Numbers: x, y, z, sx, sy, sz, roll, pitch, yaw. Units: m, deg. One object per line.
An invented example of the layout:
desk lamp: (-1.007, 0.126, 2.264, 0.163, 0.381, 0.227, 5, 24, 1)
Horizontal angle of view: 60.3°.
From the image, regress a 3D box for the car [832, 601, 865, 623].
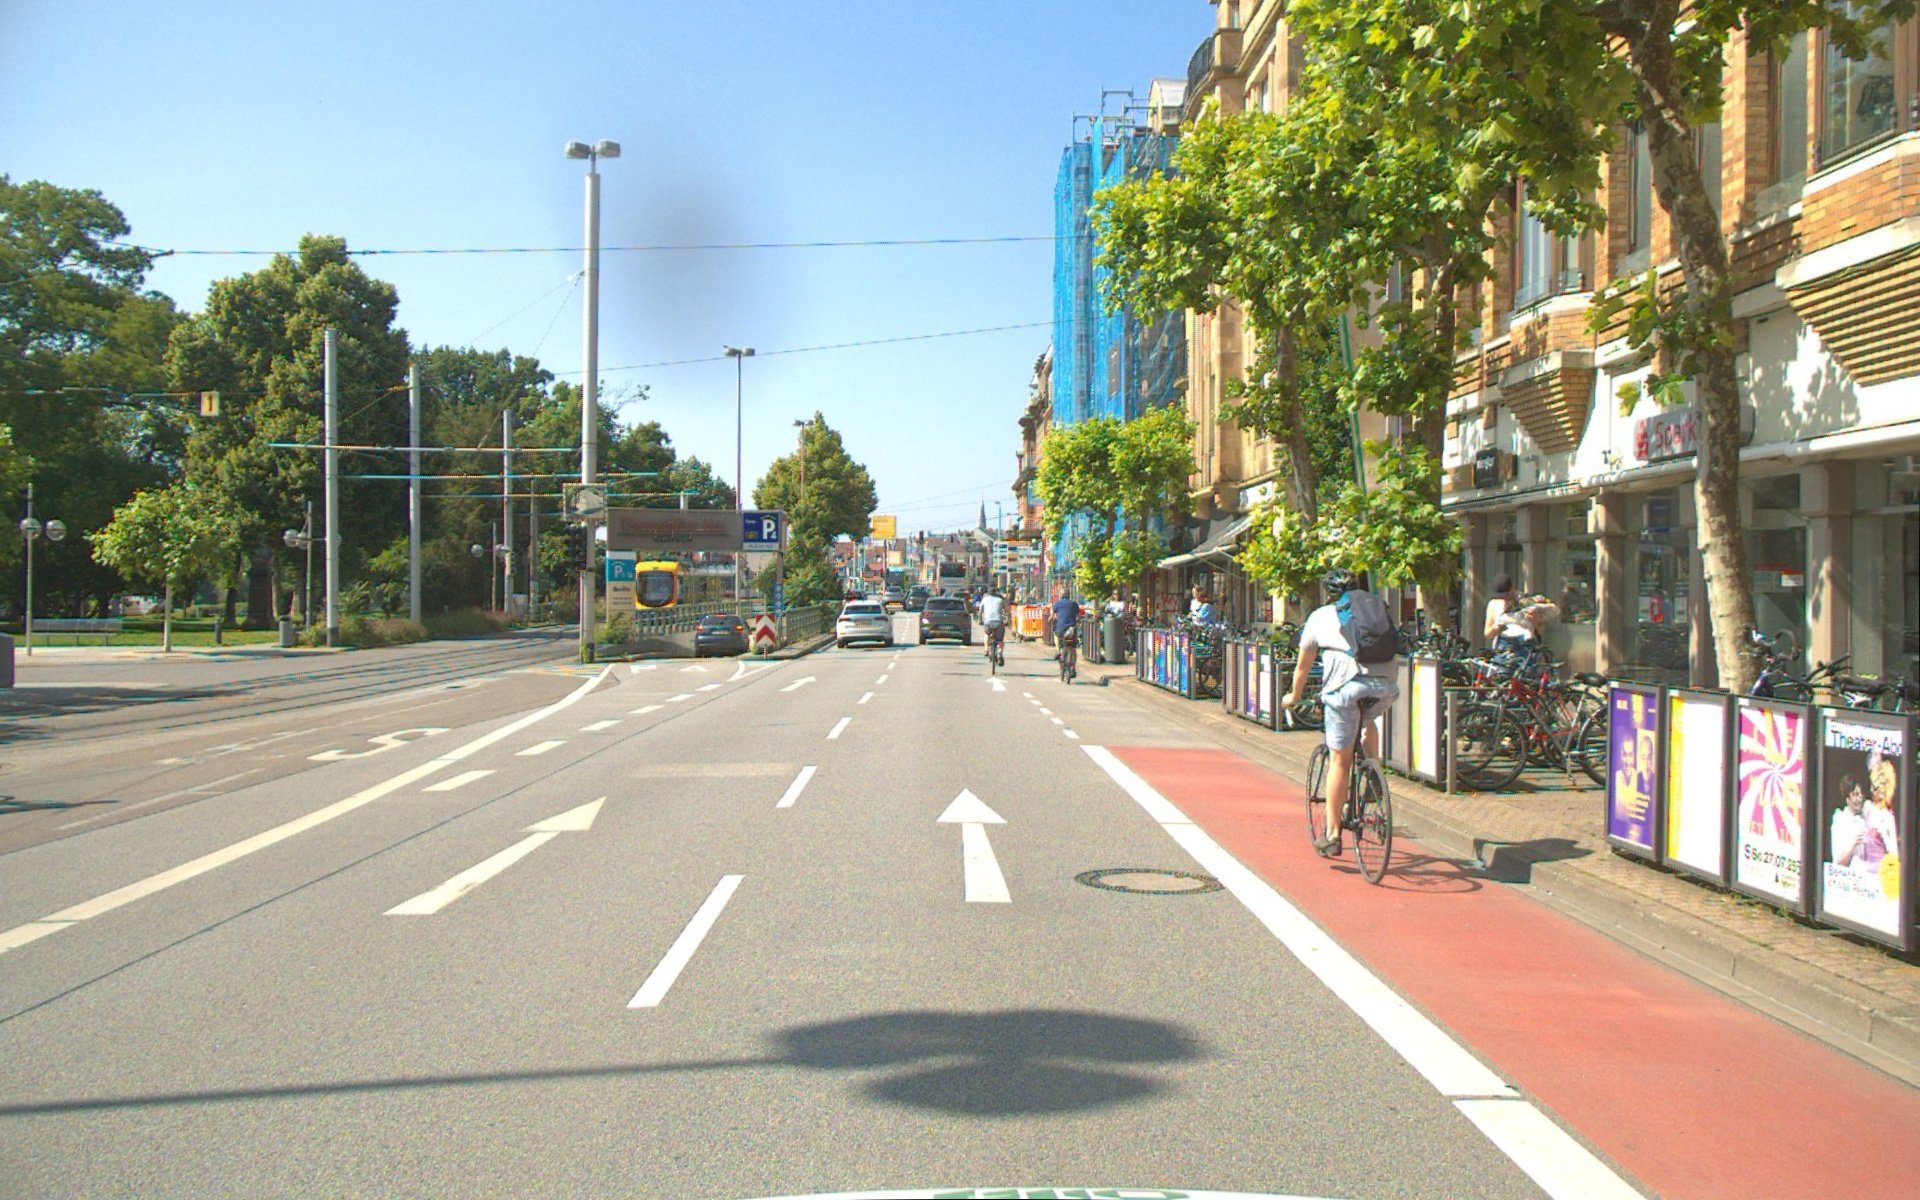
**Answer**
car: (-7.055, 0.747, 104.916, 1.778, 1.355, 4.000, 2, 0, 0)

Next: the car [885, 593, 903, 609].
car: (-5.720, 0.069, 144.033, 1.422, 1.323, 4.000, 2, 0, 0)

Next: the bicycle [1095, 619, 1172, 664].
bicycle: (4.084, 0.969, 38.992, 1.718, 1.036, 0.557, 0, 0, -3)

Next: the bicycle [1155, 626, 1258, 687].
bicycle: (4.301, 0.983, 28.937, 1.718, 1.036, 0.482, 0, 0, -3)

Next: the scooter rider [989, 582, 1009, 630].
scooter rider: (1.466, 0.221, 61.753, 0.674, 1.759, 0.778, 2, 0, 0)

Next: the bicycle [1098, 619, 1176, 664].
bicycle: (4.100, 0.957, 38.351, 1.718, 1.036, 0.586, 0, 0, -3)

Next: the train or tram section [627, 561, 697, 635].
train or tram section: (-15.583, -0.101, 86.901, 2.561, 3.643, 6.101, 2, 0, -2)

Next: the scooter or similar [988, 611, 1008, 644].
scooter or similar: (1.423, 1.033, 61.709, 0.674, 1.188, 1.464, 2, 0, 0)

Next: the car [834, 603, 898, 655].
car: (-2.989, 0.904, 53.383, 1.821, 1.533, 4.000, 2, 0, 0)

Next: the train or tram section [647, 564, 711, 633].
train or tram section: (-15.739, -0.089, 92.977, 2.561, 3.643, 6.101, 2, 0, -2)

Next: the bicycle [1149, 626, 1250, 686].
bicycle: (4.265, 0.997, 29.489, 1.718, 1.036, 0.482, 0, 0, -3)

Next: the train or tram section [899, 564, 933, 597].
train or tram section: (-5.316, -2.328, 199.682, 2.762, 3.643, 8.232, 2, 0, 7)

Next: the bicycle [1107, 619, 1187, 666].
bicycle: (4.203, 0.963, 37.170, 1.718, 1.036, 0.482, 0, 0, -3)

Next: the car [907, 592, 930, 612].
car: (-2.885, 0.121, 113.755, 1.423, 1.323, 3.339, 2, 0, -4)

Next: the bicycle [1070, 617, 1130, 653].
bicycle: (4.172, 1.049, 49.410, 1.718, 1.036, 0.482, 0, 0, -3)

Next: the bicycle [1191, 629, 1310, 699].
bicycle: (4.392, 0.967, 25.056, 1.718, 1.036, 0.482, 0, 0, -3)

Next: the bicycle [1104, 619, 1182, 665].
bicycle: (4.169, 0.962, 37.730, 1.718, 1.036, 0.482, 0, 0, -3)

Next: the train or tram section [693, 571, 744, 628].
train or tram section: (-16.212, -0.052, 111.227, 2.561, 3.643, 6.015, 2, 0, -2)

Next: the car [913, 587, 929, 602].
car: (-3.804, -0.521, 161.347, 1.422, 1.323, 3.340, 2, 0, -2)

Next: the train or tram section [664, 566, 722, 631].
train or tram section: (-15.879, -0.077, 98.712, 2.561, 3.643, 5.355, 2, 0, -2)

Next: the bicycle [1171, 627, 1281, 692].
bicycle: (4.386, 0.977, 27.296, 1.718, 1.036, 0.482, 0, 0, -3)

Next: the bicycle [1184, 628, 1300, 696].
bicycle: (4.397, 0.968, 25.836, 1.718, 1.036, 0.482, 0, 0, -3)

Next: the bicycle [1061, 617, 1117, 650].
bicycle: (4.049, 1.048, 51.865, 1.718, 1.036, 0.482, 0, 0, -3)

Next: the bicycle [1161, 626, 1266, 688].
bicycle: (4.336, 0.975, 28.381, 1.718, 1.036, 0.482, 0, 0, -3)

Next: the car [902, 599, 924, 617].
car: (-3.571, 0.594, 124.962, 1.423, 1.323, 3.338, 2, 0, -5)

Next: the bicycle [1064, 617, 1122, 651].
bicycle: (4.127, 1.049, 51.335, 1.718, 1.036, 0.482, 0, 0, -3)

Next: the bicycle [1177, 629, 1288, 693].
bicycle: (4.366, 0.976, 26.531, 1.683, 1.002, 0.482, 0, 0, -3)

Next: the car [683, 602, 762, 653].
car: (-7.690, 0.873, 53.915, 1.953, 1.534, 4.000, 2, 0, 0)

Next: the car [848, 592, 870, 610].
car: (-7.897, 0.056, 129.118, 1.422, 1.323, 4.000, 2, 0, 0)

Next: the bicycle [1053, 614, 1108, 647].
bicycle: (3.886, 0.991, 53.280, 1.718, 1.036, 0.482, 0, 0, -3)

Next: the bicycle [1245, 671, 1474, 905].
bicycle: (2.275, 1.029, 9.714, 0.719, 1.112, 2.129, 2, 0, -3)

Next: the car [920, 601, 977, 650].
car: (-0.379, 0.846, 55.879, 1.835, 1.519, 4.000, 2, 0, 0)

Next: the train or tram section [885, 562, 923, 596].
train or tram section: (-6.387, -2.395, 190.546, 2.762, 3.643, 10.039, 2, 0, 7)

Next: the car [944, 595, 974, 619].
car: (-0.068, 0.475, 114.220, 1.953, 1.519, 4.000, 2, 0, 0)

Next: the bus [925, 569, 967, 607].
bus: (-1.183, -0.912, 132.227, 2.910, 2.825, 8.636, 2, 0, -3)

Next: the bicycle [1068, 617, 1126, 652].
bicycle: (4.171, 1.040, 50.344, 1.720, 1.036, 0.482, 0, 0, -8)

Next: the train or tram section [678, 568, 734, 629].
train or tram section: (-16.036, -0.065, 104.835, 2.560, 3.643, 6.896, 2, 0, -1)

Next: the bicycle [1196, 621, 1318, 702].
bicycle: (4.391, 0.910, 24.520, 1.718, 1.167, 0.482, 0, 0, -3)
